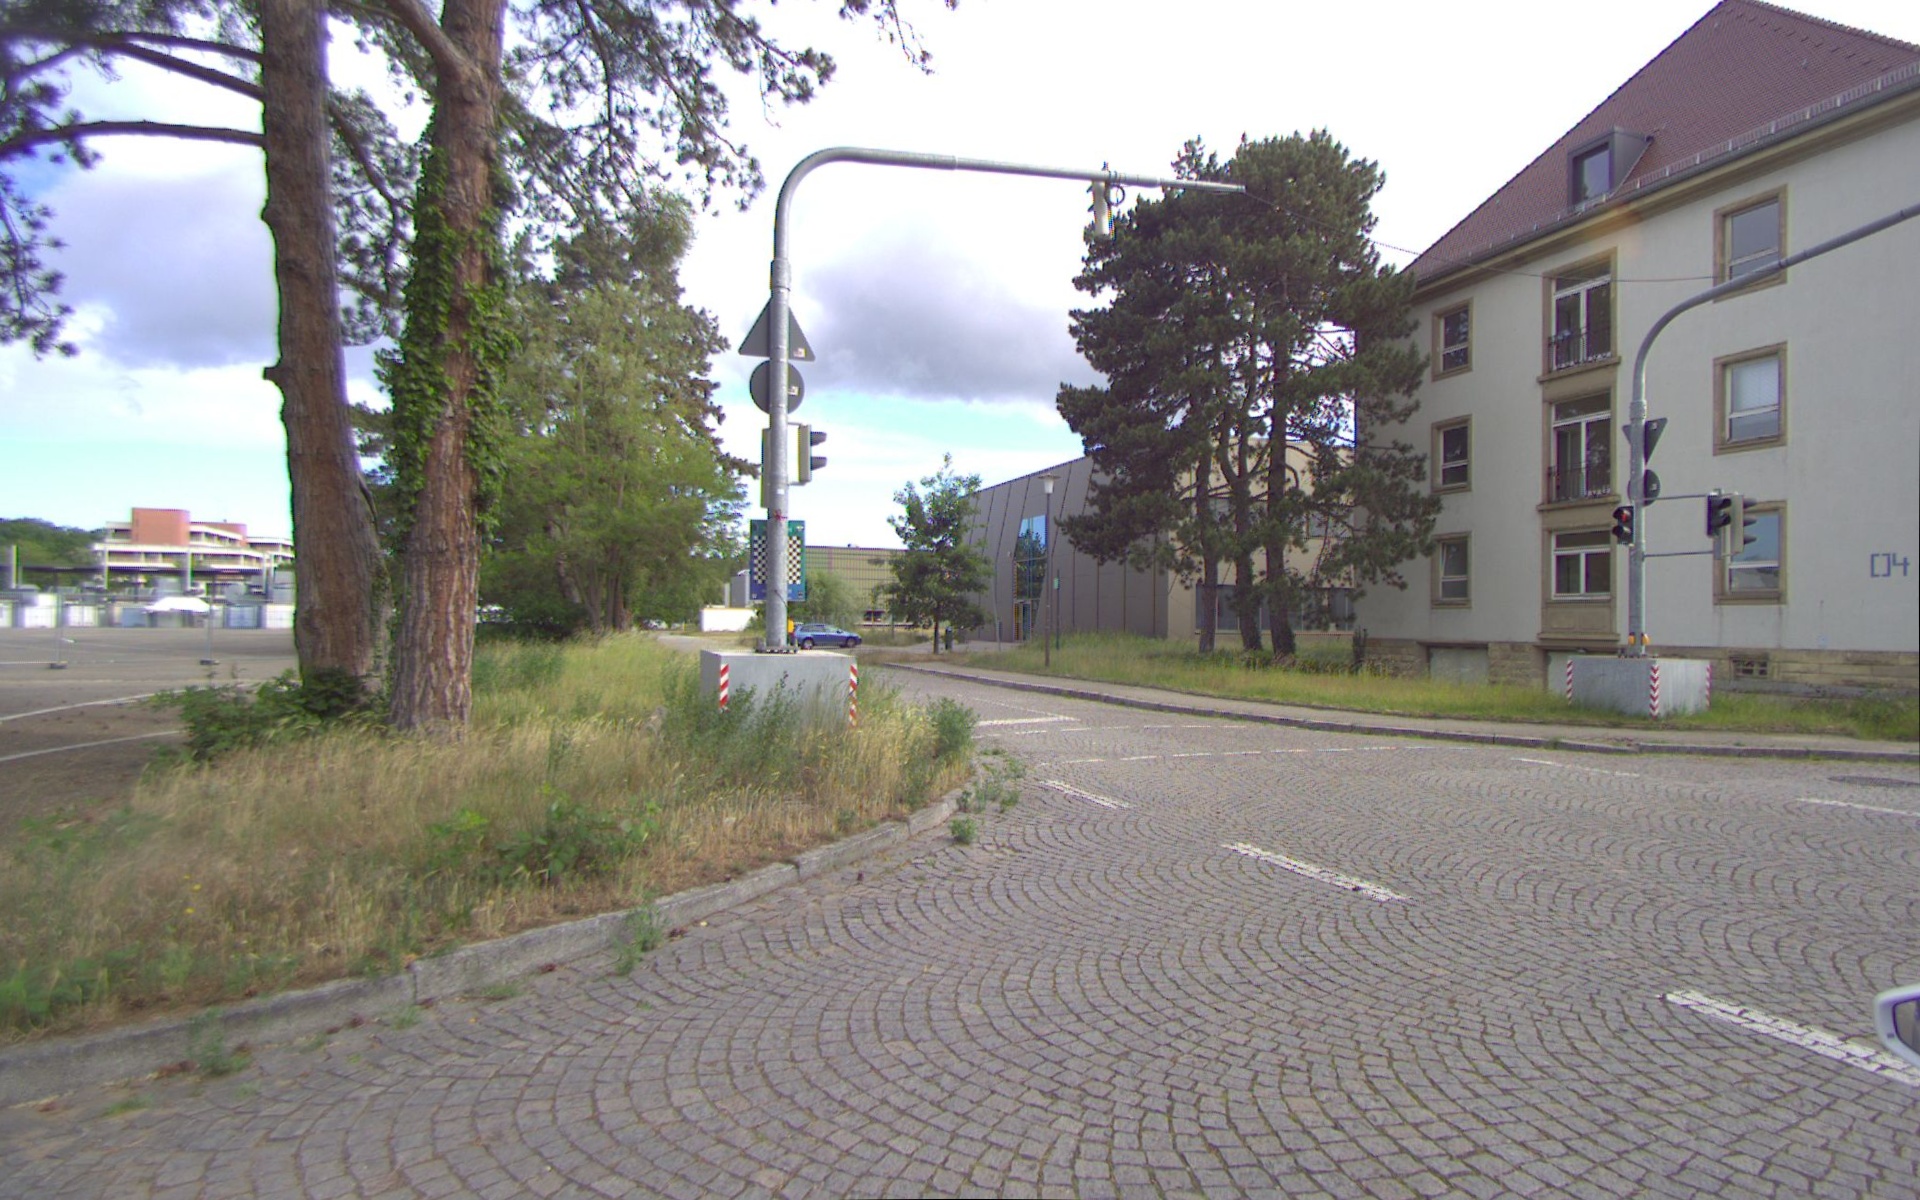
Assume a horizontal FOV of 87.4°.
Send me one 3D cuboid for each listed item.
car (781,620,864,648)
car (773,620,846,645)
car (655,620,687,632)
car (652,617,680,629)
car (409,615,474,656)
[{"bbox_3d":[-8.104,1.986,59.185,4.470,1.552,1.988,0,-1,-25],"label":"car"},{"bbox_3d":[-9.966,2.120,66.397,4.464,1.552,1.991,-1,-1,-21],"label":"car"},{"bbox_3d":[-41.969,3.793,145.978,4.306,1.710,1.915,1,-1,-22],"label":"car"},{"bbox_3d":[-48.580,3.804,165.830,4.303,1.804,1.917,1,-1,-20],"label":"car"},{"bbox_3d":[-19.921,1.331,38.765,1.898,1.496,4.344,1,-1,-23],"label":"car"}]
